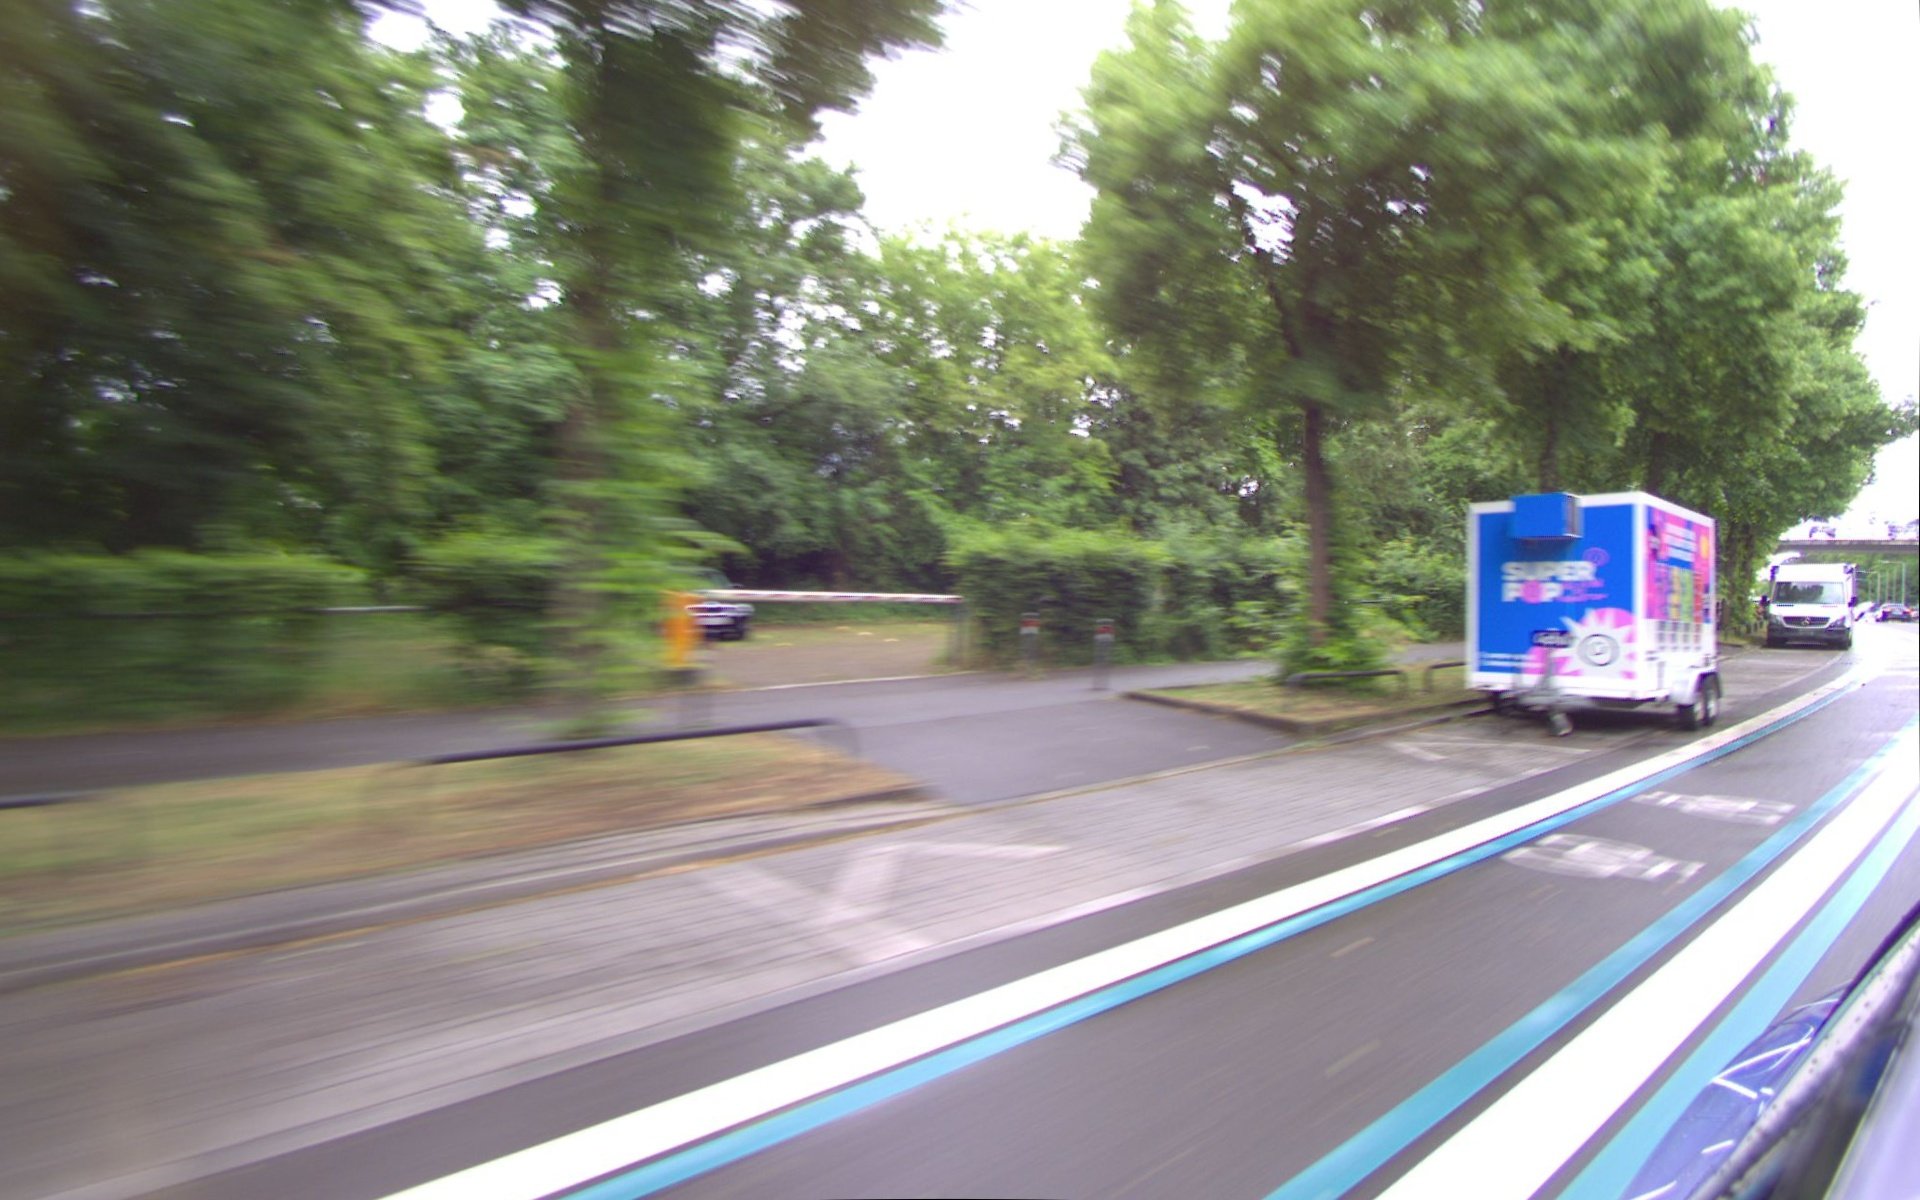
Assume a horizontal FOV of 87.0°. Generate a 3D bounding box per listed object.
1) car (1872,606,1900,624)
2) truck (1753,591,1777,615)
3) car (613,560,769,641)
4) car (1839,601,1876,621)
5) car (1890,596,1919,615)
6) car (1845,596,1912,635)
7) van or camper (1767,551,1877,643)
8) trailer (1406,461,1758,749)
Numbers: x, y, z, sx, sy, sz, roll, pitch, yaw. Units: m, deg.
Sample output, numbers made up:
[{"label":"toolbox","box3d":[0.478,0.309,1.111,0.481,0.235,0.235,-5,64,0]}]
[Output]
[{"label":"car","box3d":[112.865,1.856,123.350,1.867,2.002,4.674,2,0,35]},{"label":"truck","box3d":[81.258,0.299,102.195,1.714,2.363,3.946,1,-1,36]},{"label":"car","box3d":[-5.352,-0.068,19.740,1.853,1.338,4.155,0,3,-31]},{"label":"car","box3d":[70.769,0.879,79.822,1.818,1.481,3.830,0,-2,36]},{"label":"car","box3d":[75.072,0.443,80.087,1.755,1.455,4.096,0,0,36]},{"label":"car","box3d":[36.298,0.578,40.070,1.675,1.393,3.945,1,2,38]},{"label":"van or camper","box3d":[27.760,-0.103,32.508,2.317,2.698,6.280,0,0,44]},{"label":"trailer","box3d":[7.660,0.032,12.196,5.286,2.706,2.318,0,0,-43]}]
